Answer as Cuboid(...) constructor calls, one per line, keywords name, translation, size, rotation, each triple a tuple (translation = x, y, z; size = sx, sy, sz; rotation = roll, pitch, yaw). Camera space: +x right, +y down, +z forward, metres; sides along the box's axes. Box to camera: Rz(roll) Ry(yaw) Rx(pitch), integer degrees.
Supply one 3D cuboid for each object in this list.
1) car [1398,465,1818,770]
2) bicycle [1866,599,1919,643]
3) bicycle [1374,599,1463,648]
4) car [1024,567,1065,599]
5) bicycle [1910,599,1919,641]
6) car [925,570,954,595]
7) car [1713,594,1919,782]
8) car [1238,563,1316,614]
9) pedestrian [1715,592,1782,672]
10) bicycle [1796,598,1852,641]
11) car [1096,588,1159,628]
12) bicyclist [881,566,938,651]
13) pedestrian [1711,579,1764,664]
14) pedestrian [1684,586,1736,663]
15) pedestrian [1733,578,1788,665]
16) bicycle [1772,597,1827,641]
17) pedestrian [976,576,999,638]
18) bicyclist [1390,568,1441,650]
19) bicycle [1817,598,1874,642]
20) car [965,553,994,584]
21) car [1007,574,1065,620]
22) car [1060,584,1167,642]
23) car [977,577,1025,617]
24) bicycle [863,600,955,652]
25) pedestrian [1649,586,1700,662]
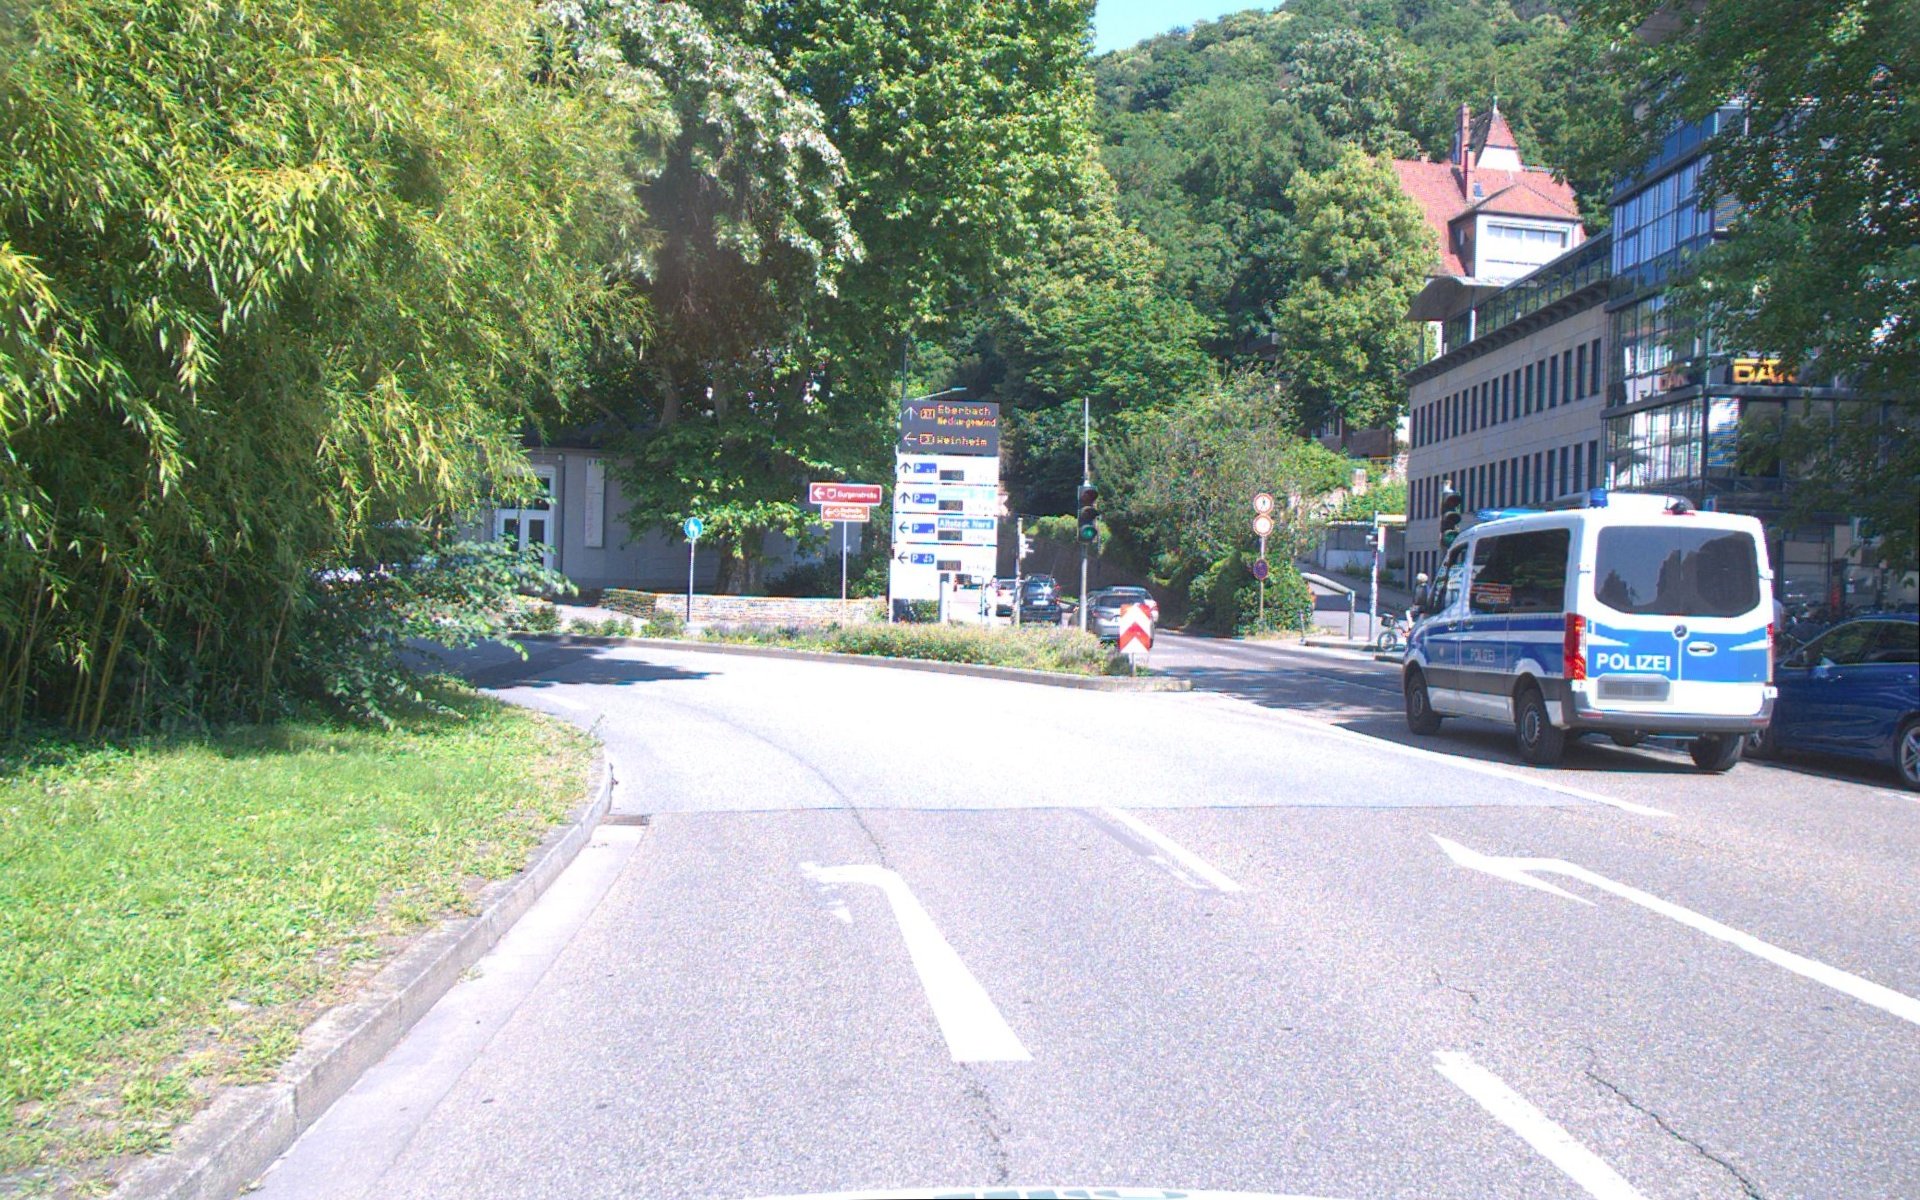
Cuboid(name="car", translation=(6.212, 0.136, 16.634), size=(2.032, 2.552, 4.926), rotation=(2, 0, -3))
Cuboid(name="bicycle", translation=(24.815, 0.538, 43.896), size=(0.526, 1.104, 1.835), rotation=(1, 1, 1))
Cuboid(name="bicycle", translation=(11.310, 0.573, 40.829), size=(2.032, 1.132, 0.757), rotation=(2, 1, 11))
Cuboid(name="car", translation=(4.207, -0.866, 82.898), size=(1.721, 1.486, 3.645), rotation=(2, 1, -2))
Cuboid(name="bicycle", translation=(26.035, 0.555, 43.930), size=(0.526, 1.104, 1.835), rotation=(1, 1, 1))
Cuboid(name="car", translation=(-1.292, -1.125, 103.064), size=(1.721, 1.486, 3.493), rotation=(2, 1, -2))
Cuboid(name="car", translation=(9.124, 0.806, 15.700), size=(1.685, 1.568, 4.268), rotation=(2, 1, -5))
Cuboid(name="car", translation=(11.219, -0.416, 58.709), size=(1.892, 1.726, 3.999), rotation=(1, 0, -1))
Cuboid(name="pedestrian", translation=(16.275, 0.649, 34.153), size=(1.095, 1.608, 0.742), rotation=(1, 0, 12))
Cuboid(name="bicycle", translation=(22.960, 0.511, 43.996), size=(0.526, 1.104, 1.835), rotation=(1, 1, 1))
Cuboid(name="car", translation=(5.761, 0.258, 57.290), size=(1.721, 1.234, 3.493), rotation=(2, 1, -2))
Cuboid(name="bicyclist", translation=(-1.193, 0.191, 39.151), size=(1.103, 1.966, 0.748), rotation=(2, 0, 24))
Cuboid(name="pedestrian", translation=(17.683, 0.472, 37.616), size=(0.755, 1.886, 0.829), rotation=(2, 1, -1))
Cuboid(name="pedestrian", translation=(17.005, 0.549, 37.535), size=(0.755, 1.691, 0.829), rotation=(2, 1, 0))
Cuboid(name="pedestrian", translation=(17.806, 0.468, 36.786), size=(0.755, 1.886, 0.829), rotation=(2, 1, -1))
Cuboid(name="bicycle", translation=(22.330, 0.502, 44.008), size=(0.526, 1.104, 1.835), rotation=(1, 1, 1))
Cuboid(name="pedestrian", translation=(0.739, 0.178, 44.909), size=(0.535, 1.649, 0.635), rotation=(1, 1, 8))
Cuboid(name="bicyclist", translation=(11.243, 0.213, 40.838), size=(1.102, 1.966, 0.749), rotation=(1, 0, 11))
Cuboid(name="bicycle", translation=(23.544, 0.519, 44.000), size=(0.526, 1.104, 1.835), rotation=(1, 1, 1))
Cuboid(name="car", translation=(1.263, -2.068, 109.108), size=(1.721, 1.971, 3.493), rotation=(2, 1, -2))
Cuboid(name="car", translation=(2.604, -0.132, 57.047), size=(1.721, 1.486, 3.493), rotation=(2, 1, -2))
Cuboid(name="car", translation=(3.915, 0.298, 42.842), size=(1.725, 1.357, 3.791), rotation=(2, 1, -11))
Cuboid(name="car", translation=(1.644, -0.137, 66.815), size=(1.721, 1.486, 3.645), rotation=(2, 1, -2))
Cuboid(name="bicycle", translation=(-1.204, 0.602, 39.146), size=(2.035, 1.132, 0.756), rotation=(2, 1, 24))
Cuboid(name="pedestrian", translation=(16.214, 0.539, 37.557), size=(0.755, 1.691, 0.829), rotation=(2, 1, -1))
